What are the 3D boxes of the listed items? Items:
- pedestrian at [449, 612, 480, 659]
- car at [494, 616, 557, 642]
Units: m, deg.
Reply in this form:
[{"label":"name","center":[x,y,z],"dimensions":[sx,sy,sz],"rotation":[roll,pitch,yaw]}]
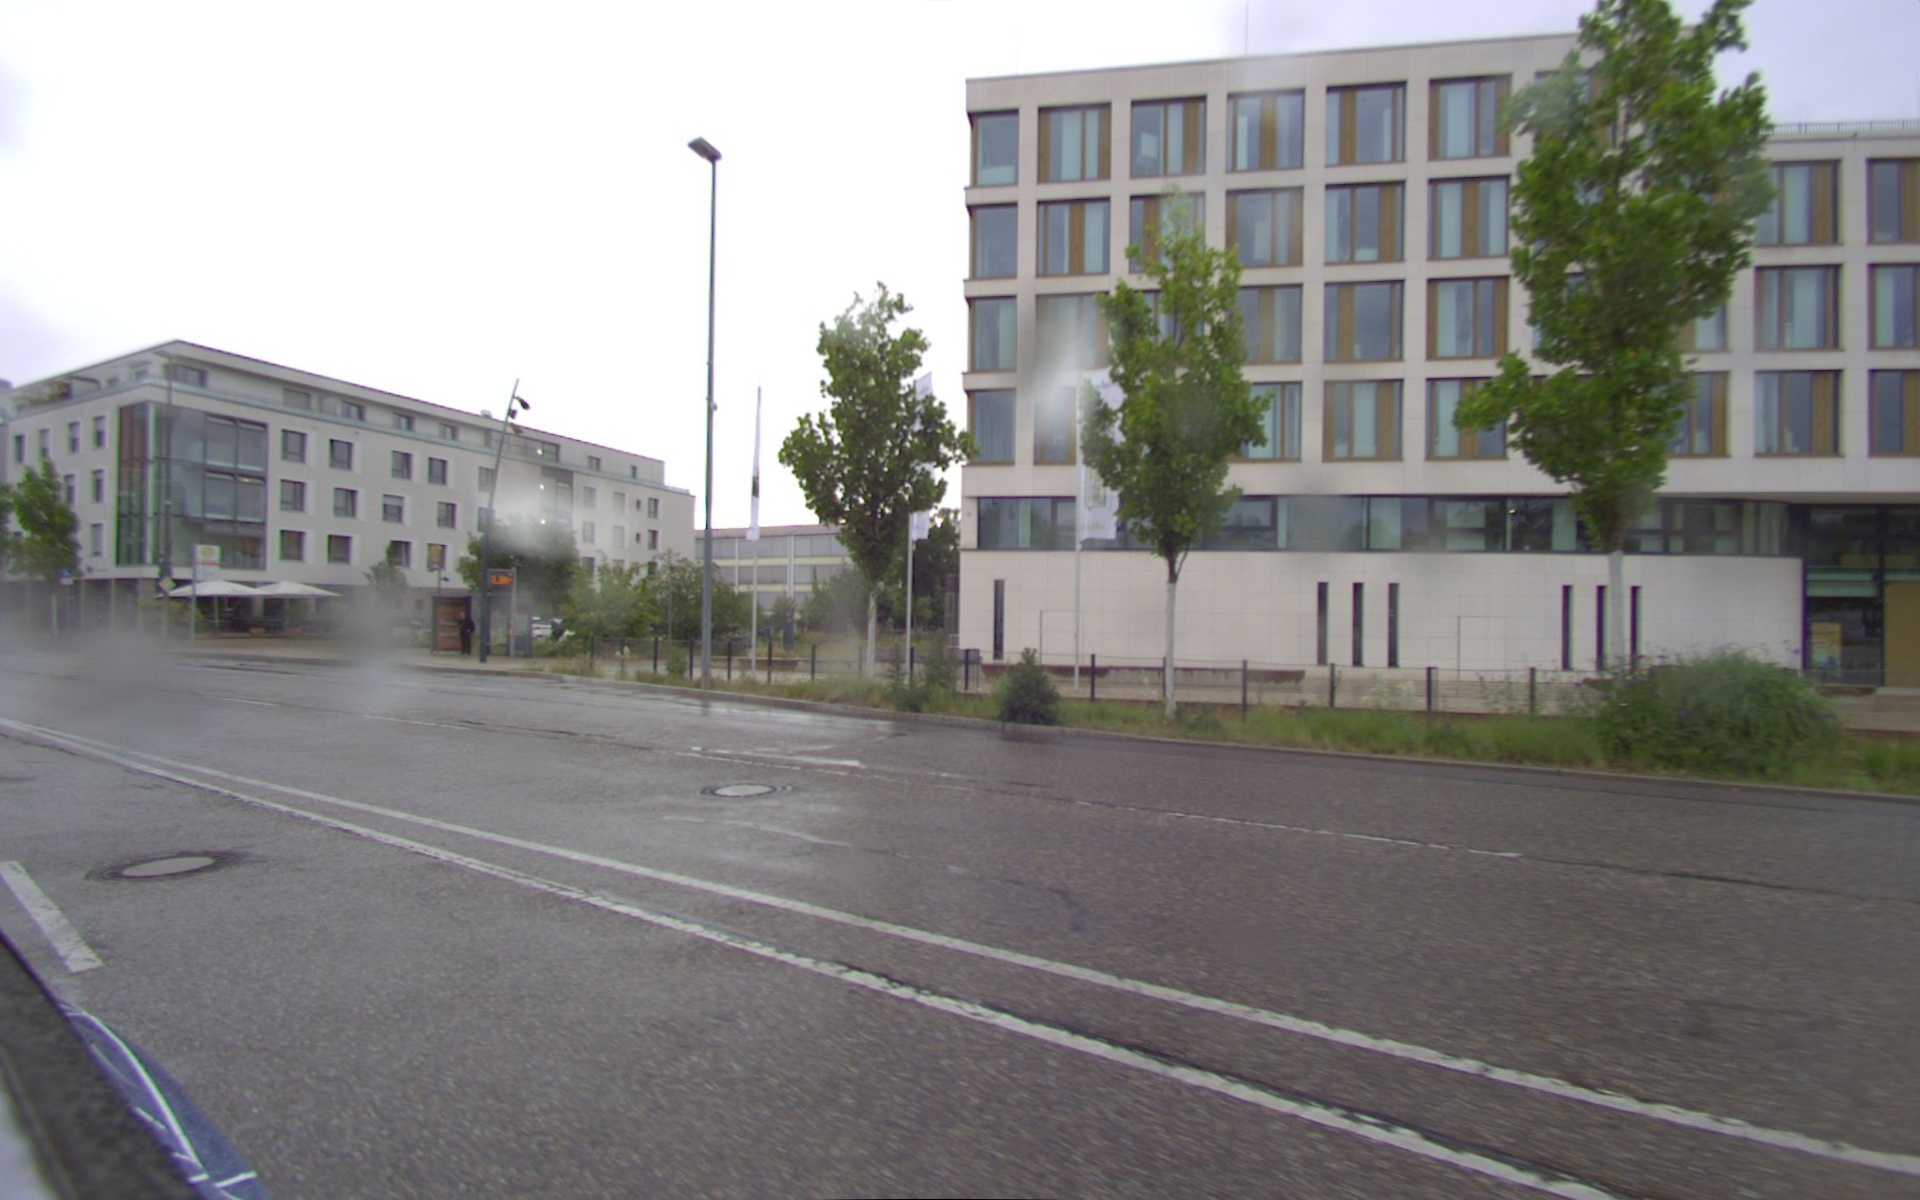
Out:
[{"label":"pedestrian","center":[-19.186,1.371,39.203],"dimensions":[0.668,1.758,0.780],"rotation":[2,-1,17]},{"label":"car","center":[-32.596,2.154,75.953],"dimensions":[3.961,1.702,1.991],"rotation":[2,-1,14]}]
